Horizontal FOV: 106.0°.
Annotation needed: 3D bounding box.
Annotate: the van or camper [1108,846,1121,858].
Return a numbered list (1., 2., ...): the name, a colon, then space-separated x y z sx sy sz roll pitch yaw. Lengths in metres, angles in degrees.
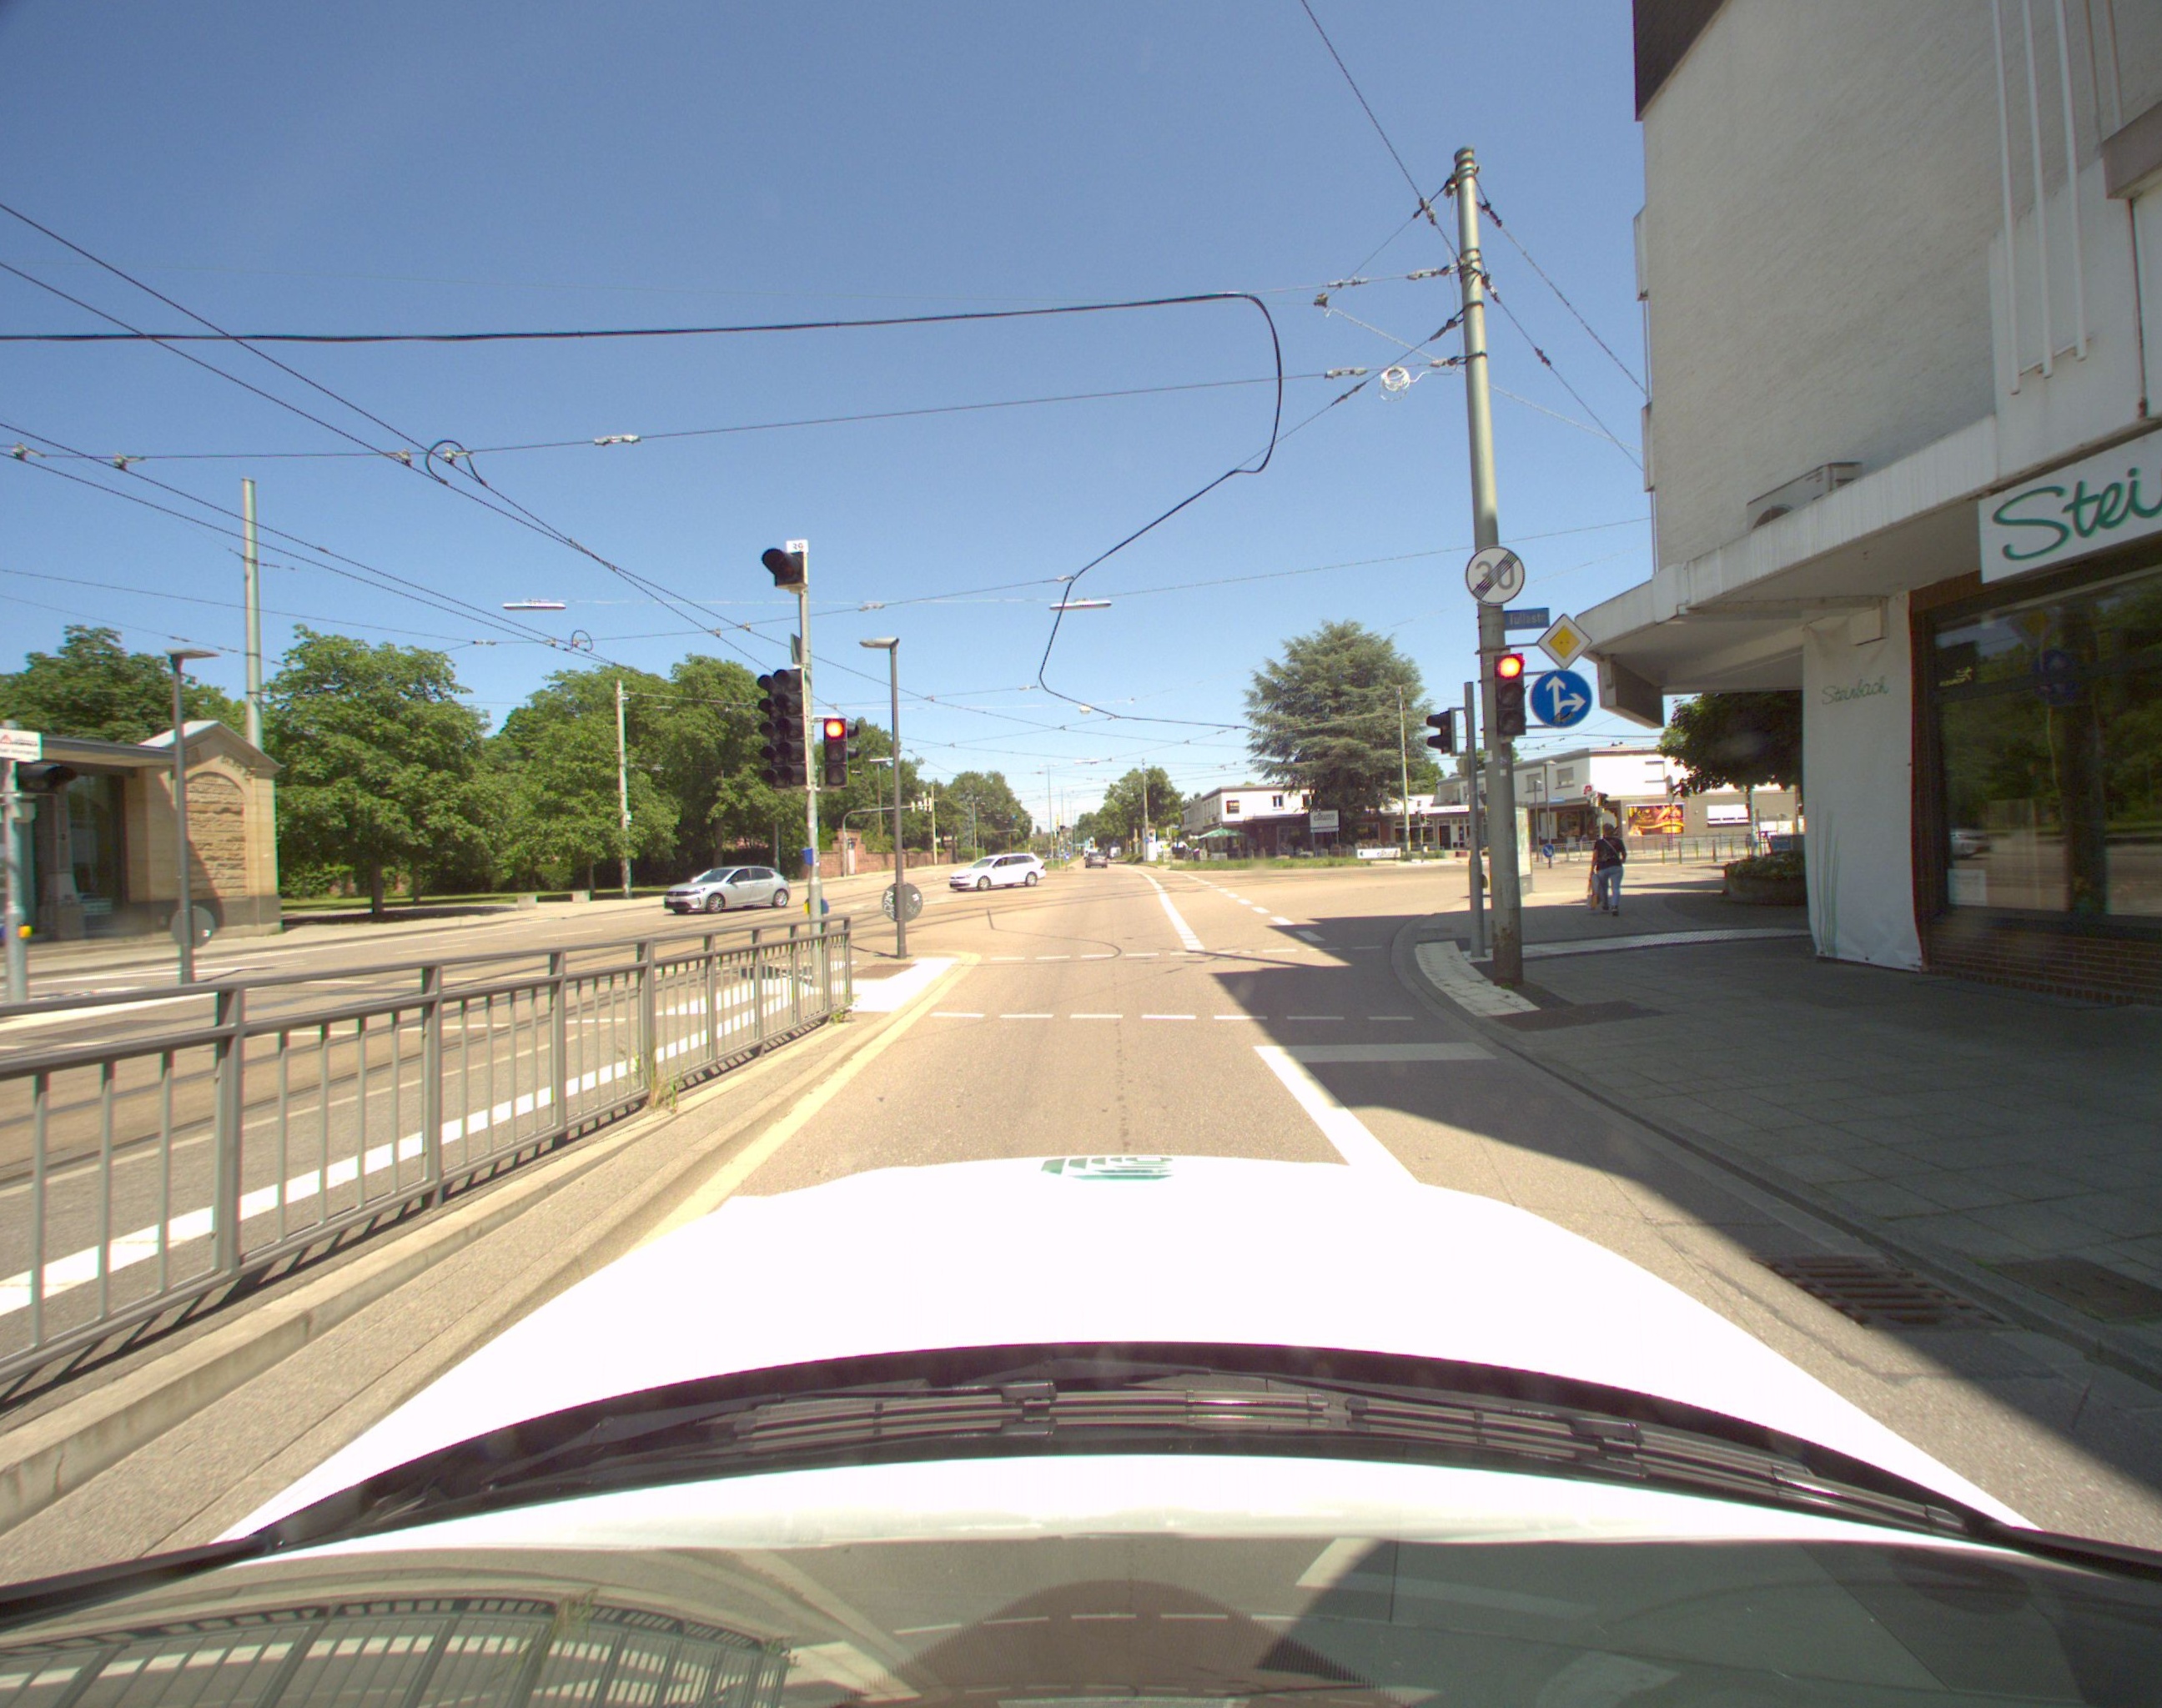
1. van or camper: 5.375 -0.340 130.480 1.915 1.772 4.001 -2 0 2

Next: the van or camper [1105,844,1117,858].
1. van or camper: 5.602 -0.505 152.962 1.988 2.464 3.998 -2 0 -2

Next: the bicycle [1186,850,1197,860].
1. bicycle: 11.475 0.087 84.402 1.028 1.014 2.643 -2 0 8

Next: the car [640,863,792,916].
1. car: -11.449 1.077 25.821 1.801 1.362 4.076 -3 0 28

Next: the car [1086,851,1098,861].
1. car: 1.645 0.282 118.156 1.664 1.435 3.476 -1 0 2

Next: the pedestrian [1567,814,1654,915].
1. pedestrian: 8.928 0.176 13.778 0.822 1.583 0.828 -6 -1 7

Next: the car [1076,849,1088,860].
1. car: 0.225 0.040 144.211 1.988 1.860 3.998 -2 0 -1

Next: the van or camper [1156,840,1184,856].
1. van or camper: 15.639 -1.082 143.272 4.742 2.671 2.135 -2 0 -1

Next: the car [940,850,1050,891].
1. car: -3.658 0.686 35.188 4.526 1.489 1.801 -3 1 -45

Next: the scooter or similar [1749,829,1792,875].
1. scooter or similar: 18.711 -0.059 22.089 1.258 1.212 0.391 -2 0 -26

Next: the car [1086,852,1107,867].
1. car: 1.424 0.484 74.401 1.633 1.351 3.838 -2 0 -3

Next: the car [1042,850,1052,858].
1. car: -7.680 -0.034 183.770 1.813 1.603 4.523 -2 1 2
